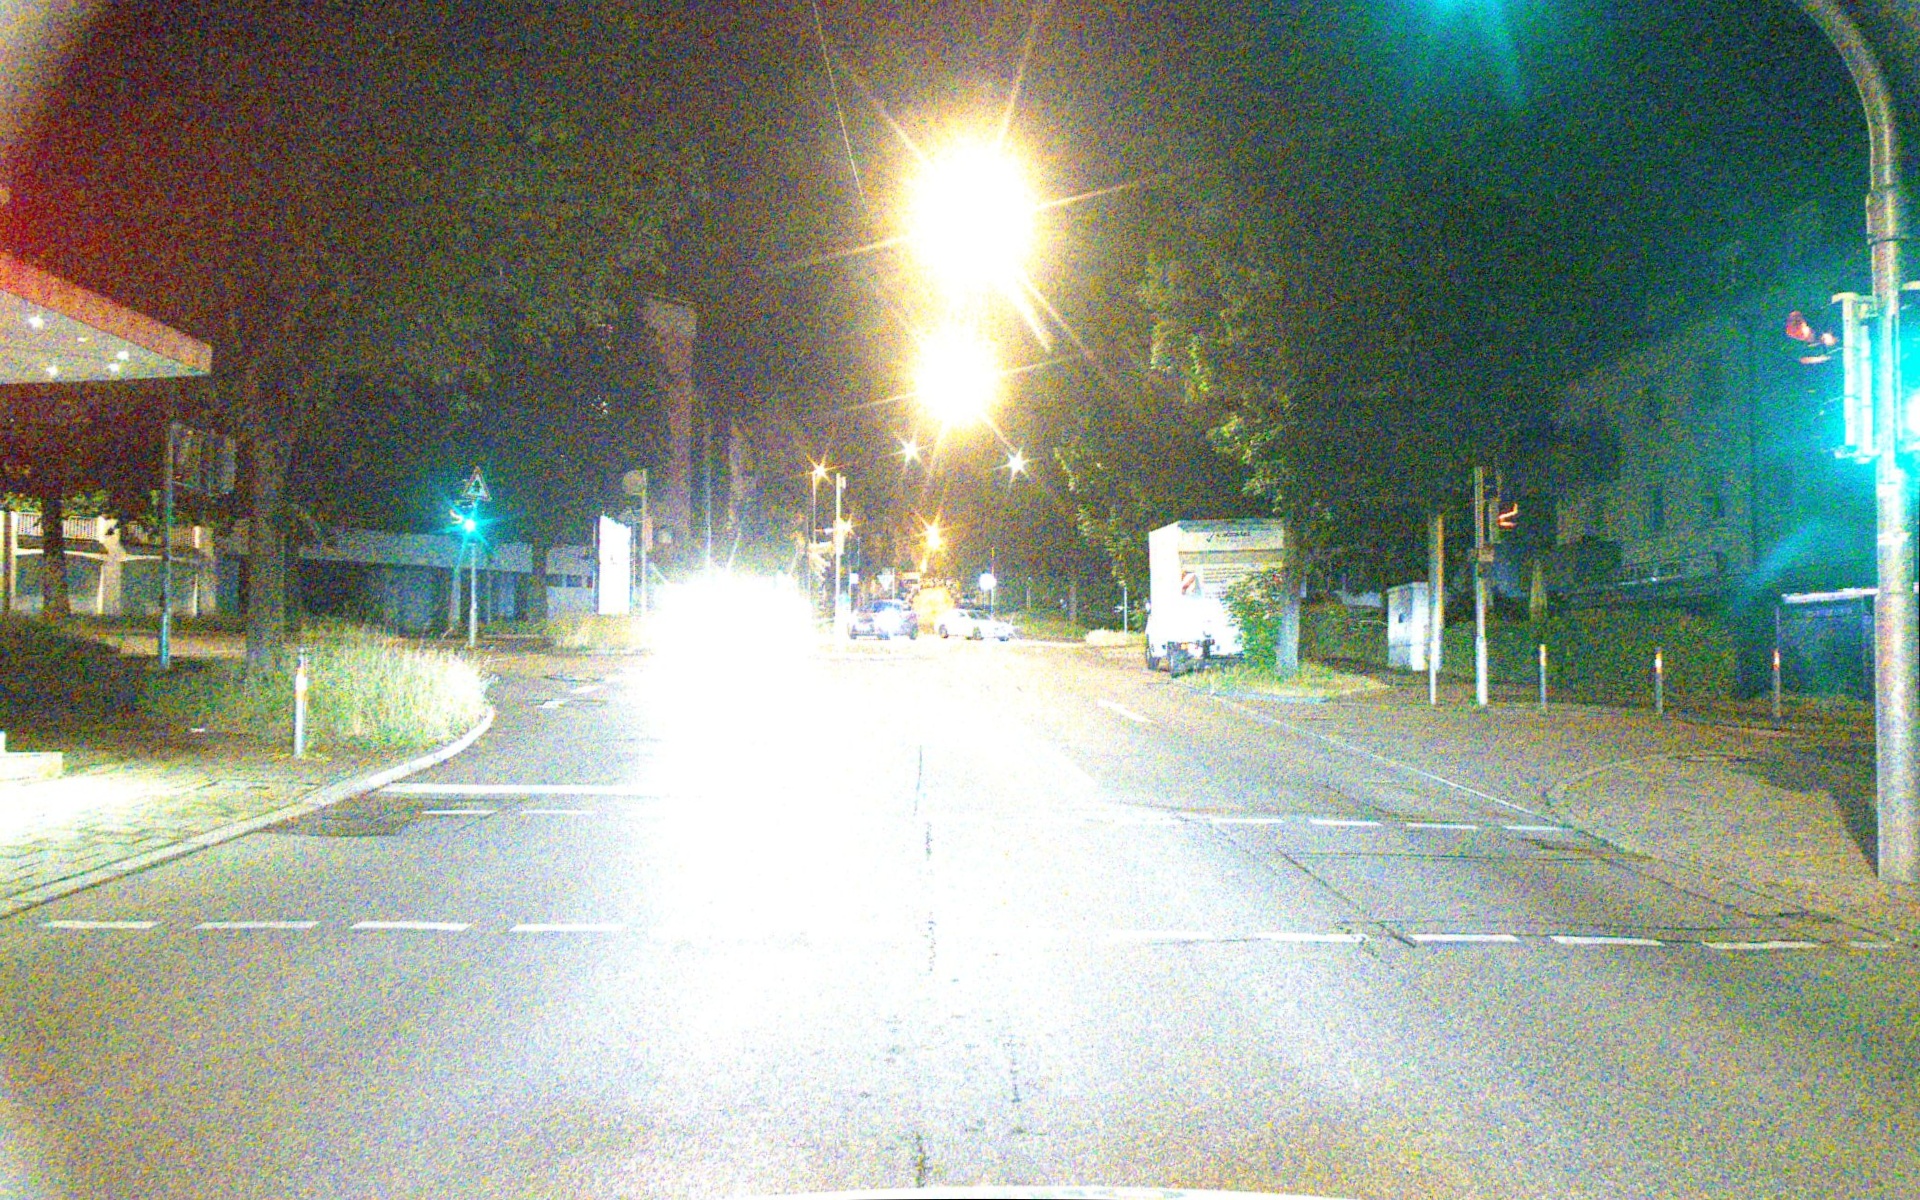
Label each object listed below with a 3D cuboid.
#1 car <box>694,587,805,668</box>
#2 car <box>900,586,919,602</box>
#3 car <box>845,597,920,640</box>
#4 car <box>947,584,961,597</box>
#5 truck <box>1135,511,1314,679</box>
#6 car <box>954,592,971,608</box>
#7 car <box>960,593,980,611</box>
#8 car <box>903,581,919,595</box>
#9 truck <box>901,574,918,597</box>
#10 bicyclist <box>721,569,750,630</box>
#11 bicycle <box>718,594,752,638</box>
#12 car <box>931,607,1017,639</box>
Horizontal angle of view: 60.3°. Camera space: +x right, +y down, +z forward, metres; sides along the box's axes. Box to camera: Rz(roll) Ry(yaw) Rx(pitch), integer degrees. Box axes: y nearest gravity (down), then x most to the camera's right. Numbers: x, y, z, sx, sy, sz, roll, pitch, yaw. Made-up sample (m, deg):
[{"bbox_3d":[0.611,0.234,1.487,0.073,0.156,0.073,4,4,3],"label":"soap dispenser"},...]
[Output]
[{"bbox_3d":[-4.281,0.533,34.237,1.819,1.561,4.027,1,0,-1],"label":"car"},{"bbox_3d":[-4.904,-0.548,160.656,1.779,1.517,3.998,1,0,-2],"label":"car"},{"bbox_3d":[-2.865,0.657,61.789,1.549,1.528,3.396,1,0,21],"label":"car"},{"bbox_3d":[-0.676,-1.054,191.639,1.601,1.477,3.484,1,0,-1],"label":"car"},{"bbox_3d":[5.386,-0.100,34.749,2.693,3.165,6.258,1,0,0],"label":"truck"},{"bbox_3d":[0.235,-0.010,159.437,1.601,1.477,3.484,1,0,-1],"label":"car"},{"bbox_3d":[0.853,0.192,143.526,1.601,1.477,3.484,1,0,-1],"label":"car"},{"bbox_3d":[-5.560,-1.334,187.039,1.779,1.517,3.998,1,0,-2],"label":"car"},{"bbox_3d":[-6.464,-1.851,209.663,2.044,2.897,5.828,1,0,-2],"label":"truck"},{"bbox_3d":[-6.227,-0.022,45.851,0.676,1.666,0.896,1,-1,-1],"label":"bicyclist"},{"bbox_3d":[-6.243,0.440,45.913,0.682,1.169,1.950,1,0,-1],"label":"bicycle"},{"bbox_3d":[0.647,1.103,79.651,1.901,1.413,4.525,1,0,-35],"label":"car"}]
